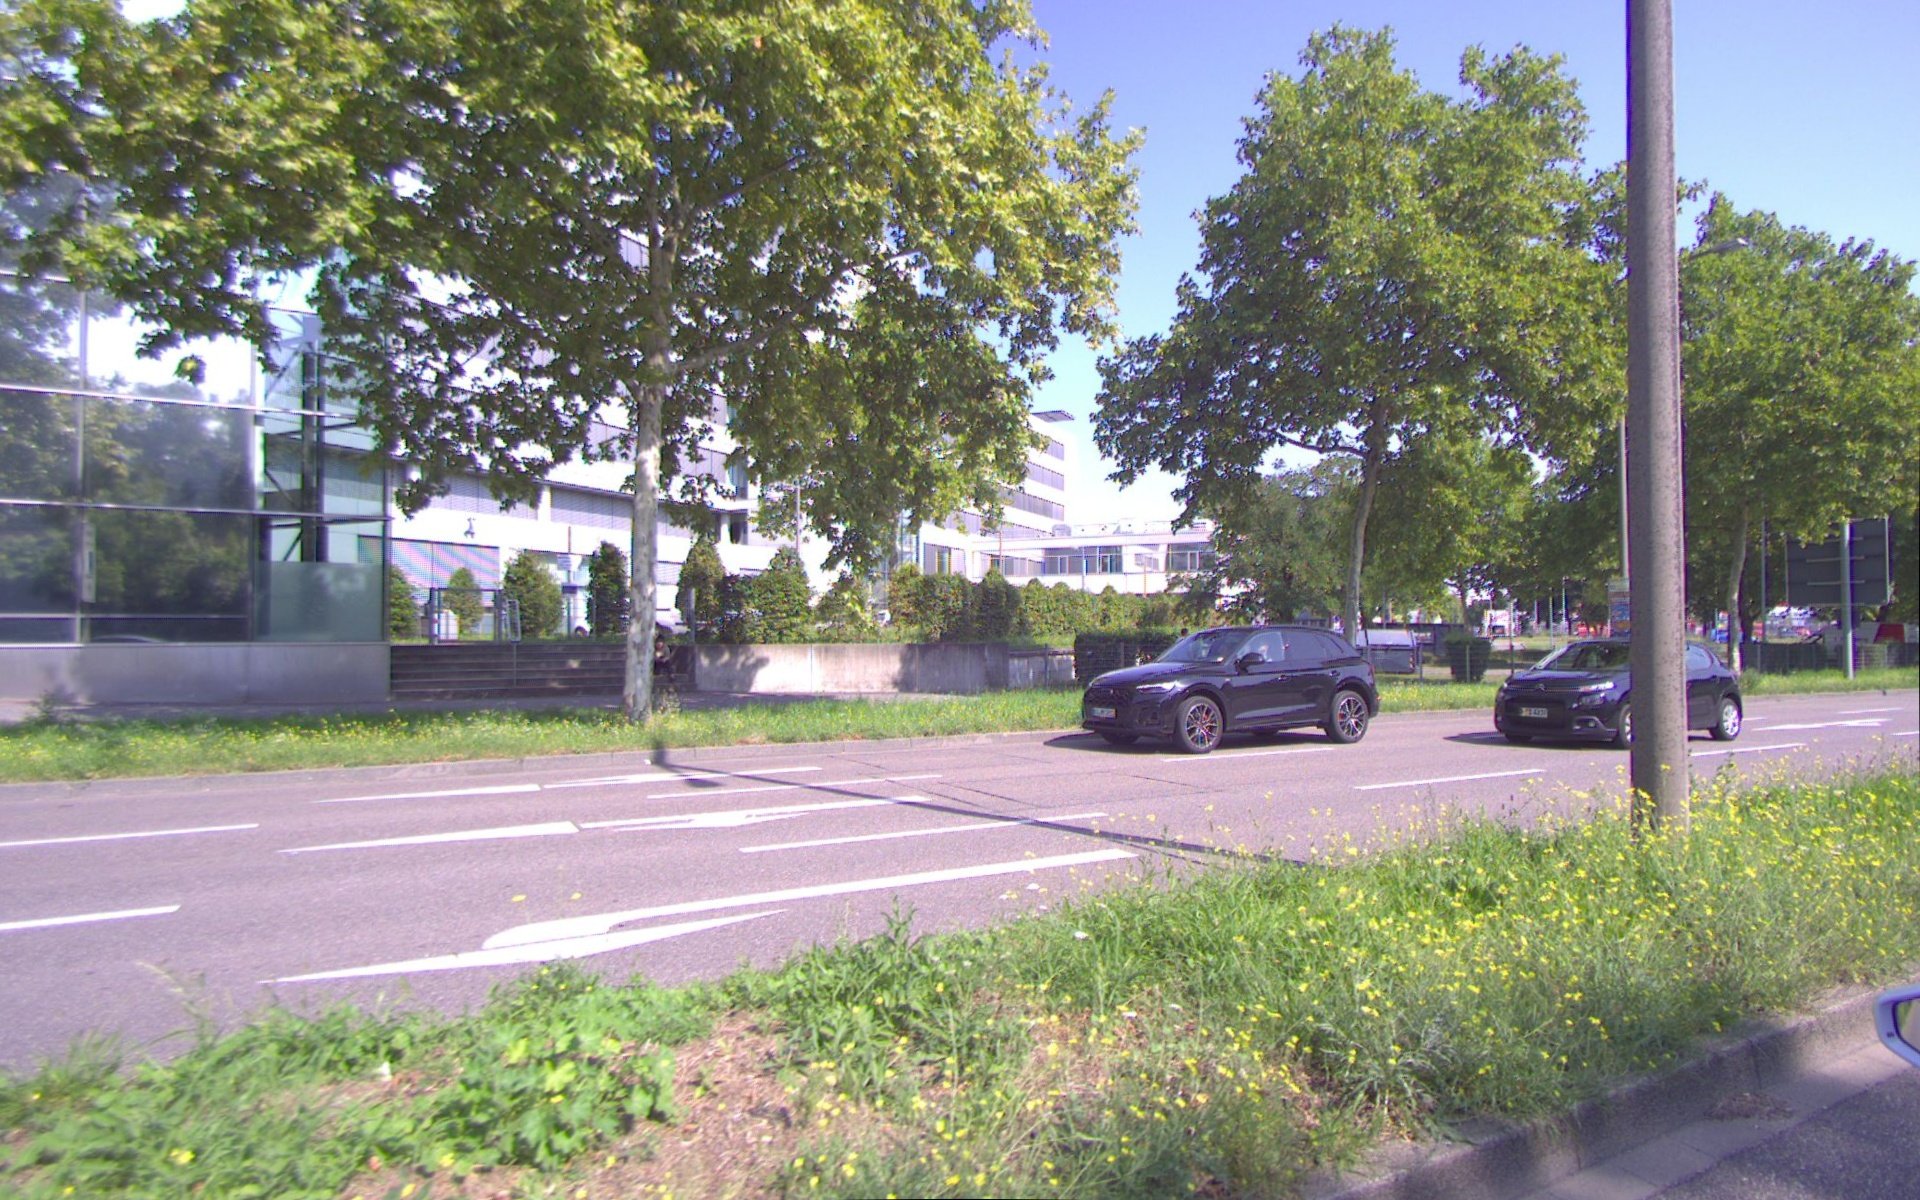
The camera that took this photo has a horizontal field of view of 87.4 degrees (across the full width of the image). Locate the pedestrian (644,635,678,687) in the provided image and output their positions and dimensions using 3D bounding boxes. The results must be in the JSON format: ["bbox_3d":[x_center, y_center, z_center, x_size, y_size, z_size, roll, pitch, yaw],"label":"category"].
[{"bbox_3d":[-6.833,1.390,22.962,0.556,1.124,0.731,-2,1,-33],"label":"pedestrian"}]

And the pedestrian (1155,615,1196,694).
[{"bbox_3d":[5.889,1.468,27.417,0.995,2.041,1.268,-1,1,14],"label":"pedestrian"}]

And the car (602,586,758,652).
[{"bbox_3d":[-8.787,0.585,31.481,4.530,1.927,1.997,-1,1,28],"label":"car"}]

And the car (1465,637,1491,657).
[{"bbox_3d":[45.231,4.062,87.722,1.896,1.472,3.995,-1,1,26],"label":"car"}]

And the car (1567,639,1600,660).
[{"bbox_3d":[51.493,4.084,83.015,1.896,1.472,3.995,-1,1,26],"label":"car"}]

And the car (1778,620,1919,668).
[{"bbox_3d":[49.737,2.407,56.385,2.251,2.368,5.559,-2,1,-29],"label":"car"}]

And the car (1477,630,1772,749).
[{"bbox_3d":[9.619,1.230,14.496,4.258,1.509,1.699,1,-4,-28],"label":"car"}]

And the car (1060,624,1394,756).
[{"bbox_3d":[3.823,1.214,14.228,4.553,1.626,1.839,2,-4,-28],"label":"car"}]
